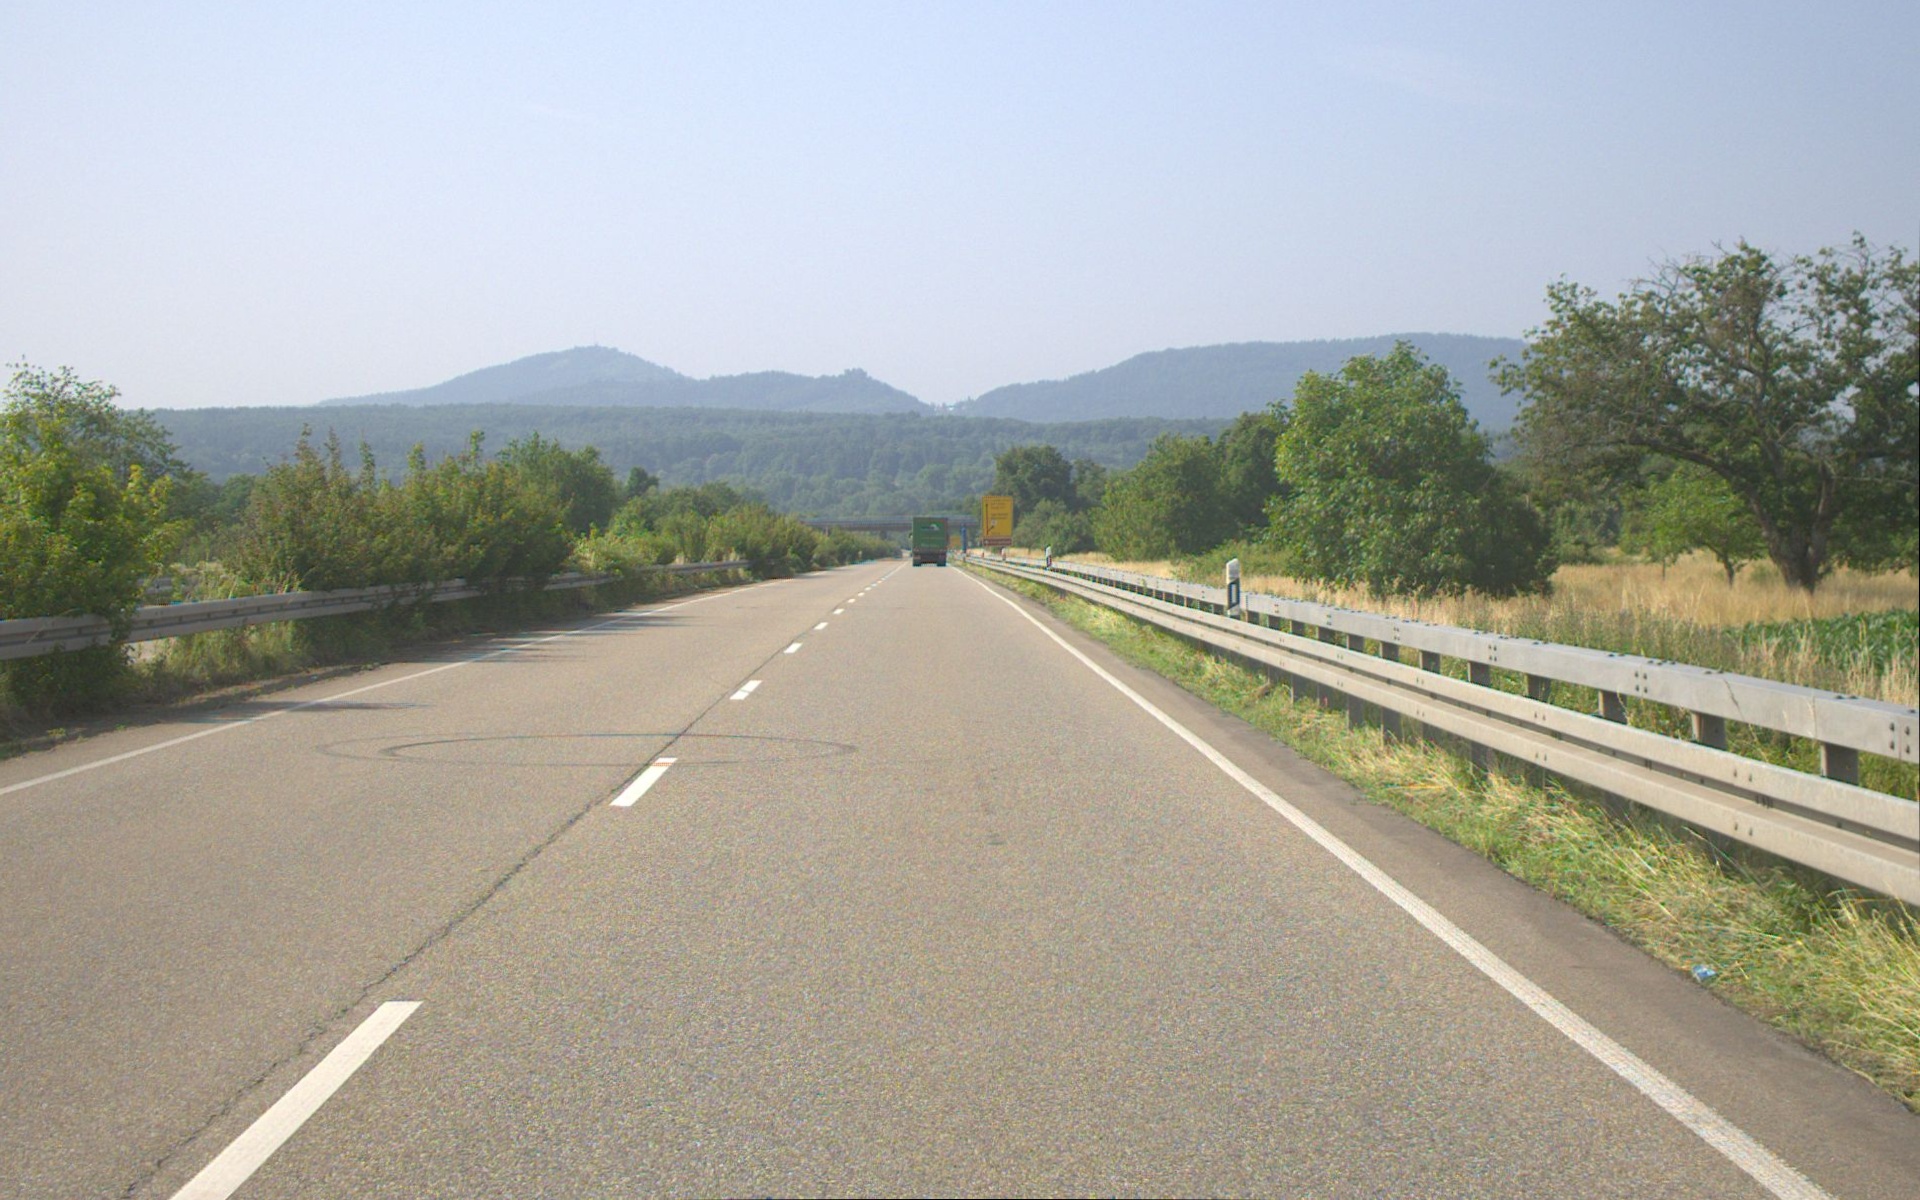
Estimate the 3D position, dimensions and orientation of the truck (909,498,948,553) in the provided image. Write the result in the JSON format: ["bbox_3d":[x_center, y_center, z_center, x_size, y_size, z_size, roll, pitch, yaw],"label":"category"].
[{"bbox_3d":[-2.314,-5.592,256.621,2.722,3.952,10.416,1,2,0],"label":"truck"}]
